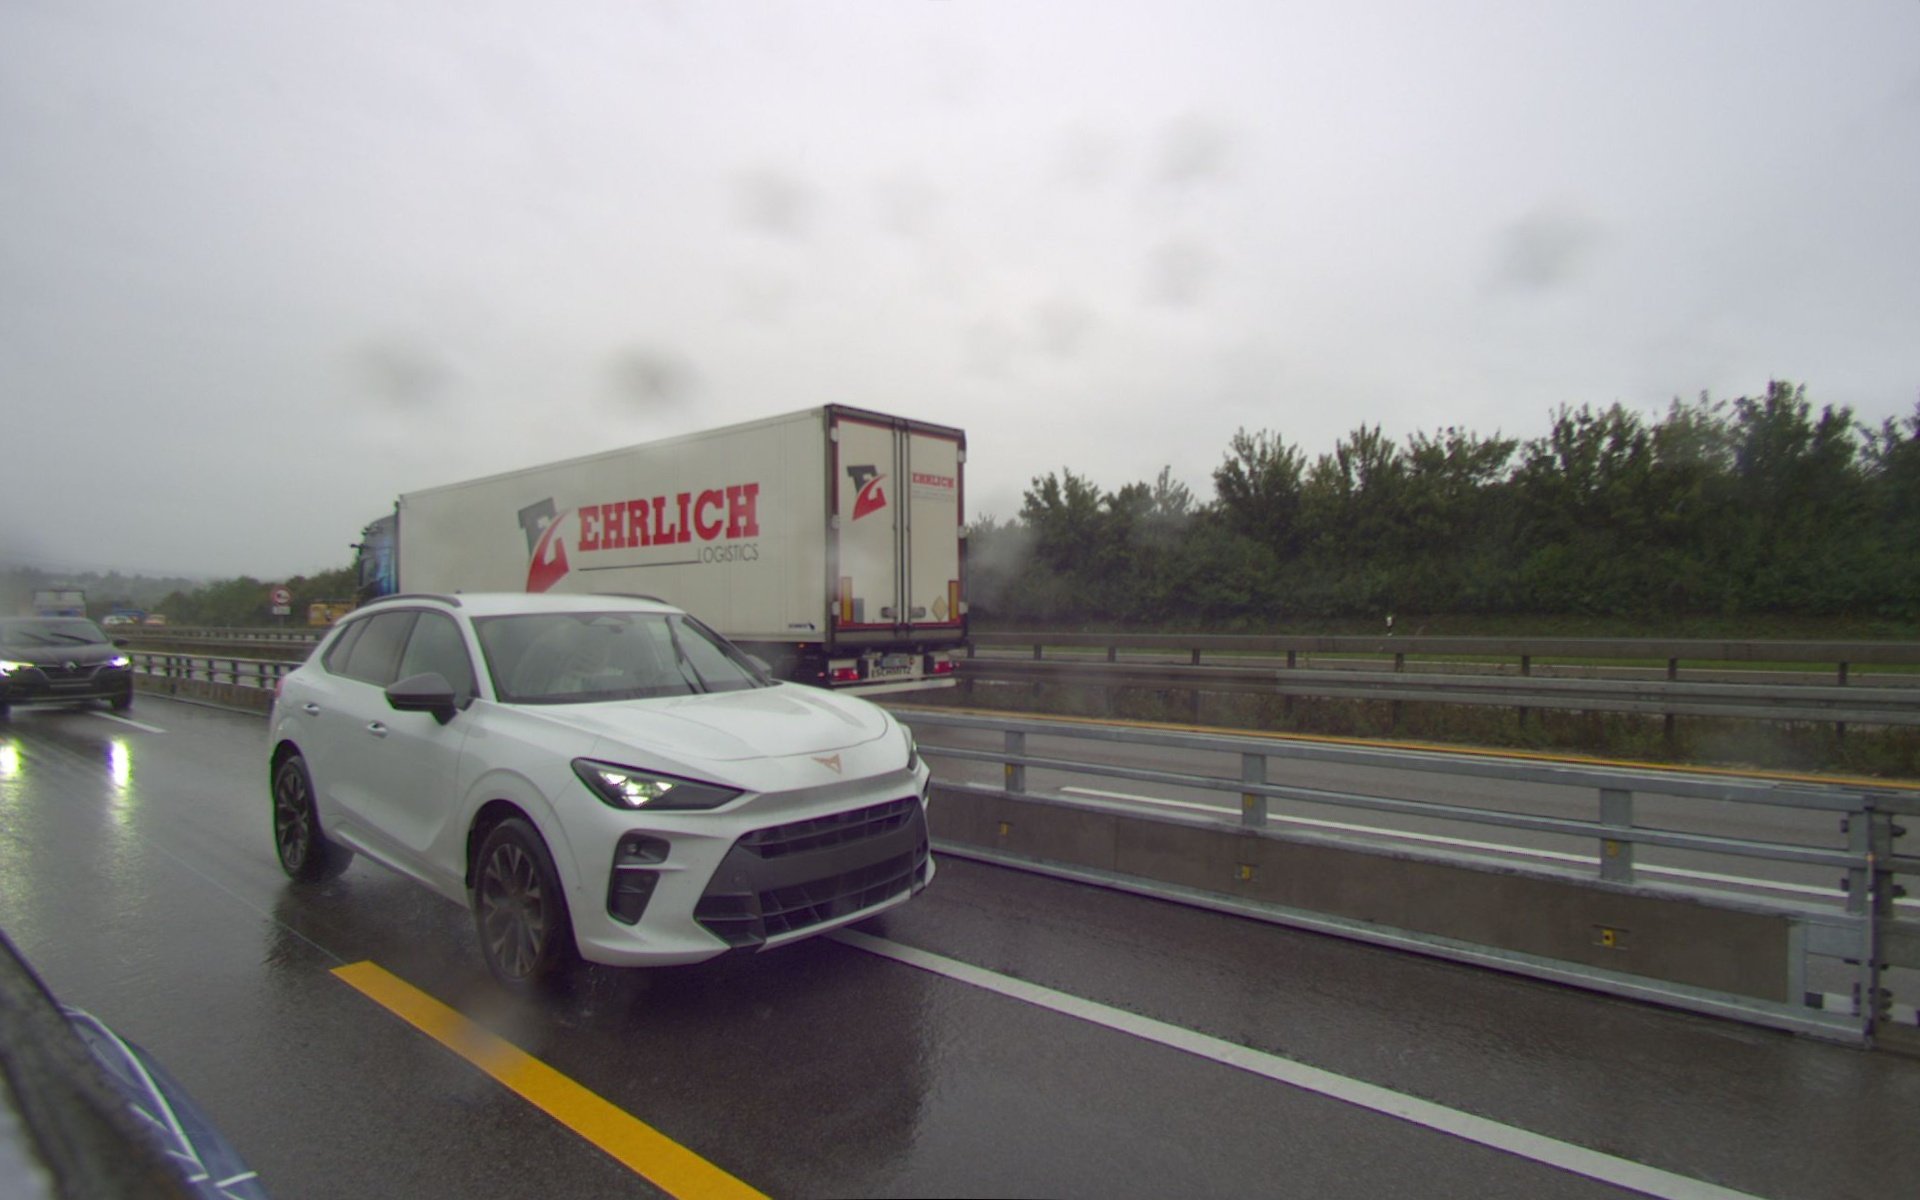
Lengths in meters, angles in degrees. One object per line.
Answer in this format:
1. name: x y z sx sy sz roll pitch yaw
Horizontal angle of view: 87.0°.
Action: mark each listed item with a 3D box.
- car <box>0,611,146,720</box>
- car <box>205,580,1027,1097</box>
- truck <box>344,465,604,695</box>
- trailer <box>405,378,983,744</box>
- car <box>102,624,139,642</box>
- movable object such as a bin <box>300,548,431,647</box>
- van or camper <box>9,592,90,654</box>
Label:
1. car: -15.976 1.030 17.551 5.193 1.640 2.042 -1 -1 41
2. car: -2.215 0.753 5.433 5.003 1.562 1.908 -1 -1 41
3. truck: -10.661 -0.332 21.924 6.324 4.264 2.858 -1 -1 42
4. trailer: -5.445 -0.389 17.294 12.889 4.319 2.862 -1 -1 41
5. car: -96.449 3.787 116.202 5.355 1.981 2.075 -1 -1 36
6. movable object such as a bin: -38.912 -0.147 66.023 11.041 5.959 4.127 -1 0 42
7. van or camper: -47.875 1.161 53.161 6.694 3.064 2.270 -1 0 40
